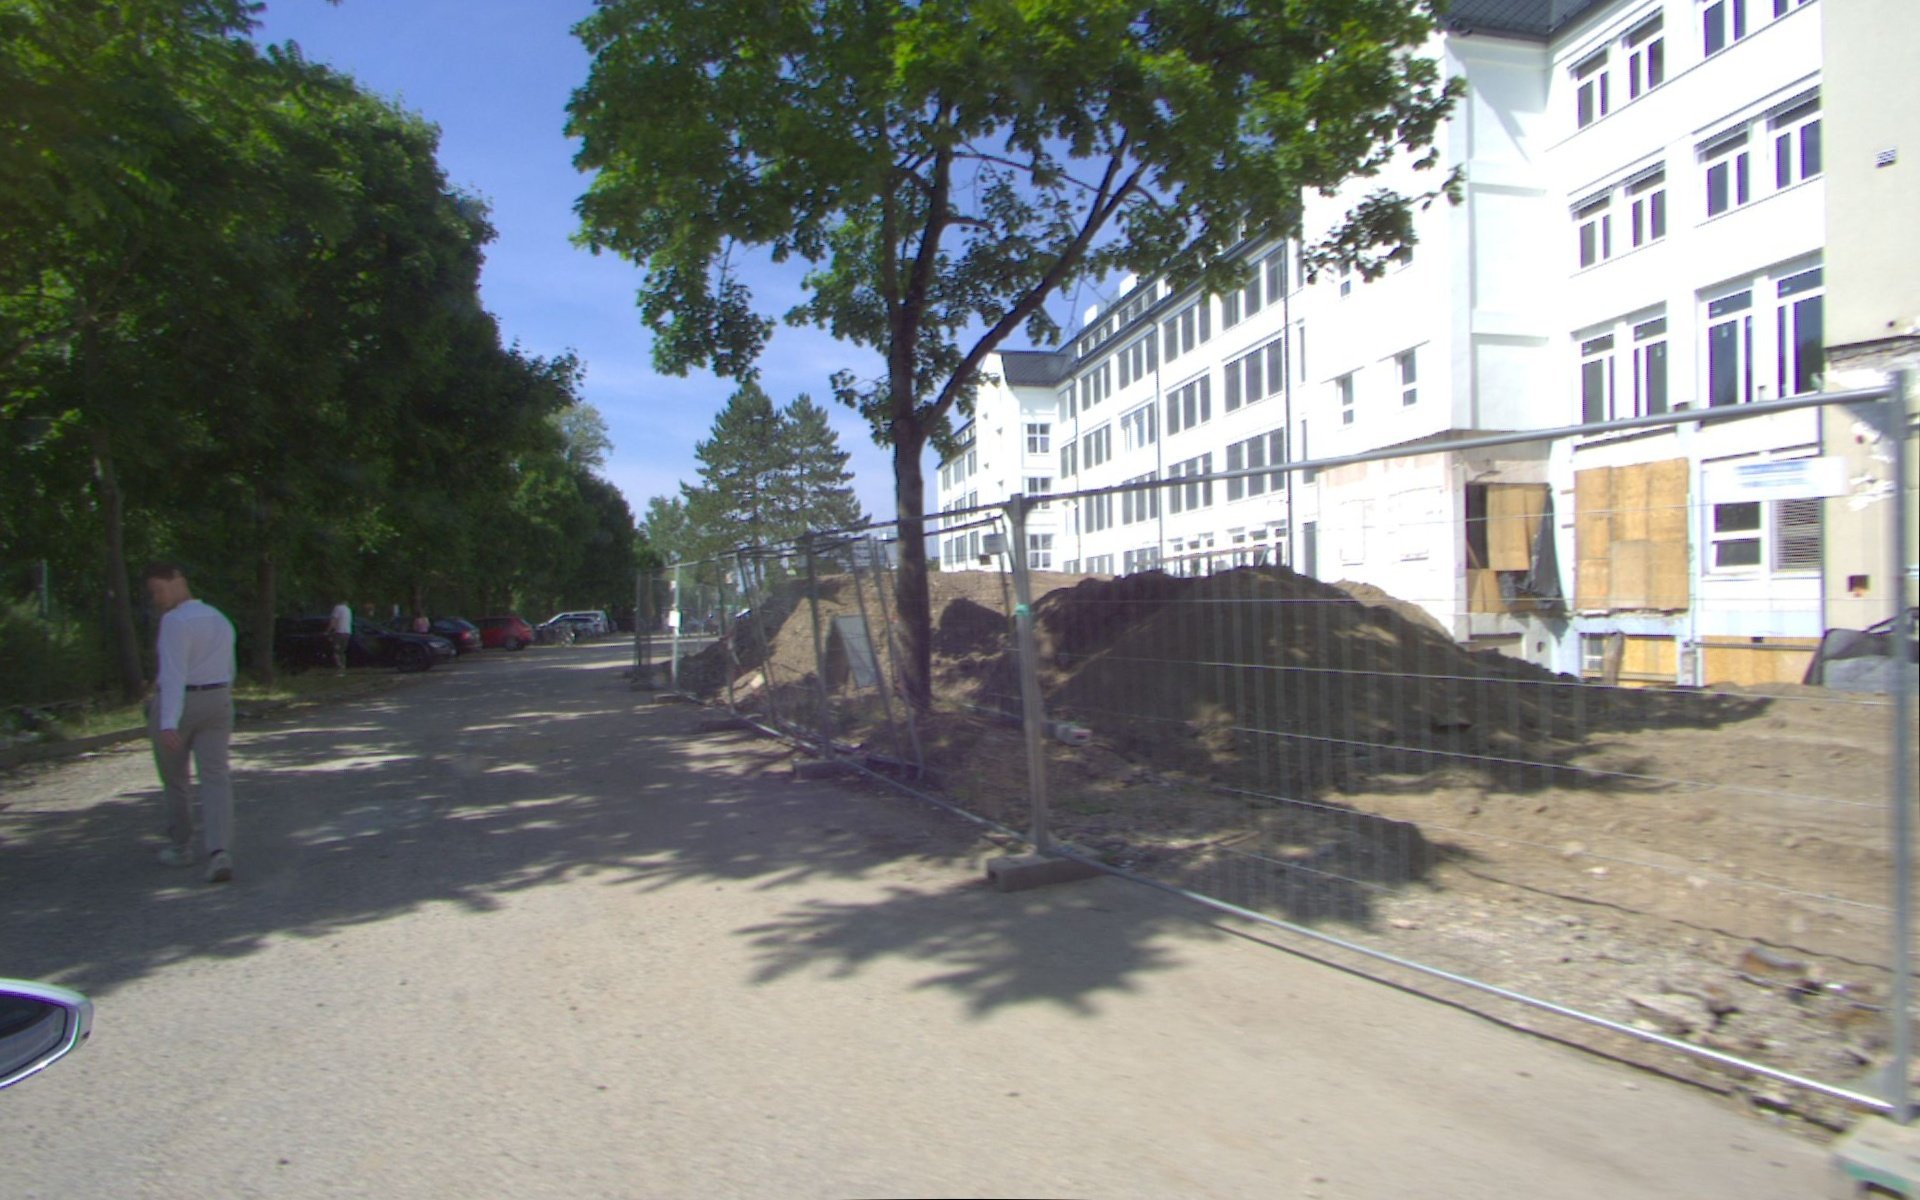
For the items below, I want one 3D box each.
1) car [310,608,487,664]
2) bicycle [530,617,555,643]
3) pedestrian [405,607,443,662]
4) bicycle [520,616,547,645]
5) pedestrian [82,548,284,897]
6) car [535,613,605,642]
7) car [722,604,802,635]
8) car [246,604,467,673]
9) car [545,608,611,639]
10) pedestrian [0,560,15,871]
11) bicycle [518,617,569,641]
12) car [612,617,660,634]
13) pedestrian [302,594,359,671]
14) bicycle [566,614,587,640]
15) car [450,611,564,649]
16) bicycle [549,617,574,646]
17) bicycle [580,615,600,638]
[{"bbox_3d":[-17.387,1.067,31.277,4.595,1.606,1.993,0,1,-23],"label":"car"},{"bbox_3d":[-21.791,1.568,52.289,0.804,1.301,2.680,-1,0,-14],"label":"bicycle"},{"bbox_3d":[-16.162,1.025,30.213,0.912,1.616,0.783,-1,1,-22],"label":"pedestrian"},{"bbox_3d":[-20.321,1.429,47.764,0.703,1.301,2.787,-1,0,-14],"label":"bicycle"},{"bbox_3d":[-4.338,0.615,5.590,0.845,1.751,0.750,1,1,43],"label":"pedestrian"},{"bbox_3d":[-25.143,1.768,64.725,3.925,1.795,1.766,0,0,-12],"label":"car"},{"bbox_3d":[-10.956,1.073,55.503,4.232,1.639,1.757,-1,0,-11],"label":"car"},{"bbox_3d":[-15.321,0.936,25.748,4.595,1.606,1.993,0,1,-23],"label":"car"},{"bbox_3d":[-25.754,1.574,67.659,3.925,2.040,1.766,0,0,-12],"label":"car"},{"bbox_3d":[-5.615,0.619,5.387,0.773,1.662,0.731,1,2,45],"label":"pedestrian"},{"bbox_3d":[-23.825,1.656,57.322,2.638,1.301,0.817,-1,0,-20],"label":"bicycle"},{"bbox_3d":[-29.896,2.342,92.518,3.923,1.471,1.653,-1,0,-7],"label":"car"},{"bbox_3d":[-15.186,0.769,24.184,1.000,1.805,0.817,-1,0,-23],"label":"pedestrian"},{"bbox_3d":[-19.903,1.404,51.993,0.703,1.301,2.633,-1,0,-14],"label":"bicycle"},{"bbox_3d":[-19.406,1.258,43.091,4.223,1.544,1.889,-1,0,-16],"label":"car"},{"bbox_3d":[-18.867,1.470,47.454,0.703,1.301,2.680,-1,0,-14],"label":"bicycle"},{"bbox_3d":[-21.851,1.552,59.195,0.804,1.301,2.743,-1,0,-14],"label":"bicycle"}]
